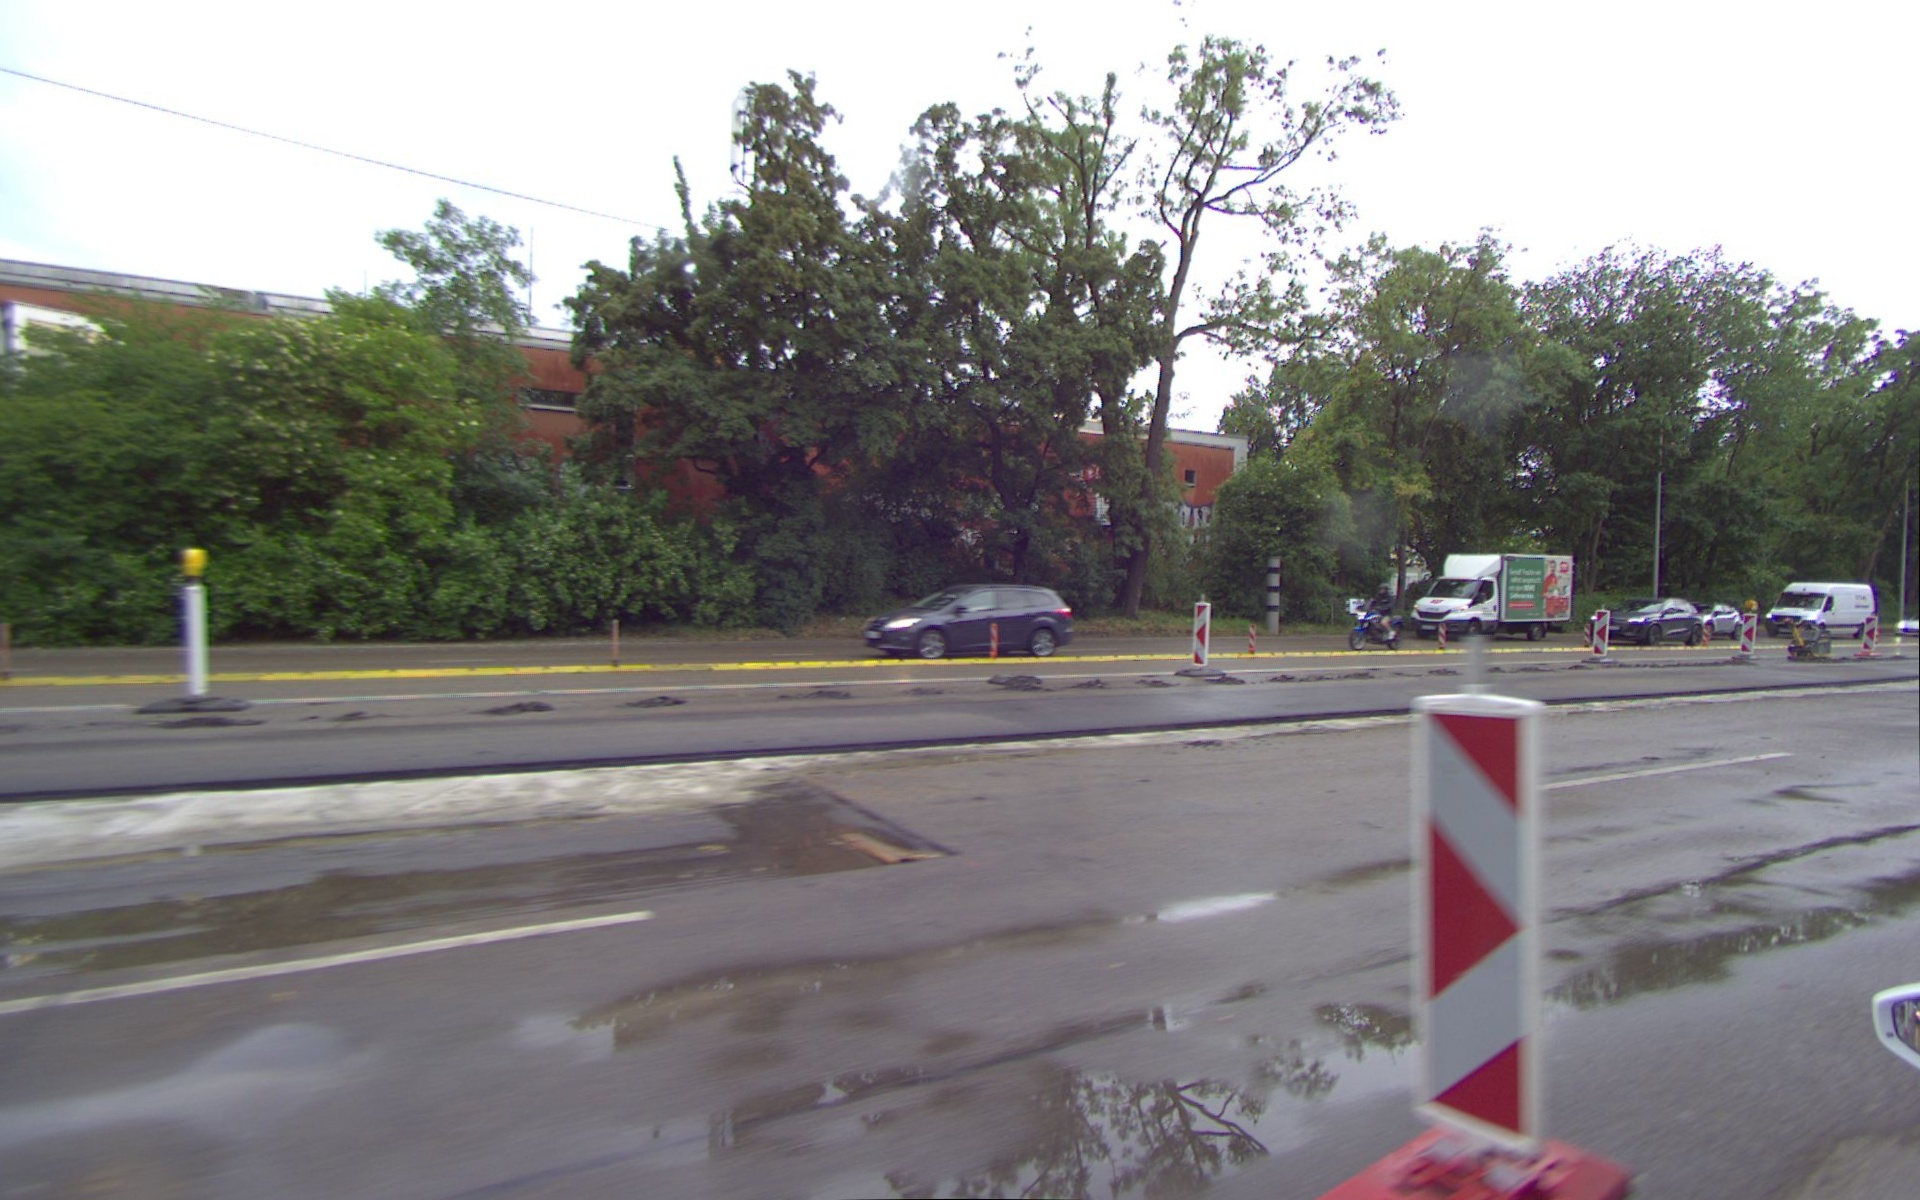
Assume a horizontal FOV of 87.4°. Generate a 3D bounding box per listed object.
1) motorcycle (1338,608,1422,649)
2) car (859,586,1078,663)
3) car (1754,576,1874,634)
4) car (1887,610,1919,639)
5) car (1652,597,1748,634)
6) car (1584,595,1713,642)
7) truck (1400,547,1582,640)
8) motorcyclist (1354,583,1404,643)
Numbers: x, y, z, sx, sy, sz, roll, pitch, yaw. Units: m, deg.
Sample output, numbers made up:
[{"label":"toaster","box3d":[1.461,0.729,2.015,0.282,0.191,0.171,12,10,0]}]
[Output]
[{"label":"motorcycle","box3d":[11.301,0.753,27.005,2.339,1.028,0.824,1,1,-31]},{"label":"car","box3d":[0.213,0.472,20.558,4.271,1.434,1.661,1,0,-31]},{"label":"car","box3d":[40.308,0.244,47.340,6.770,2.614,2.090,1,0,-29]},{"label":"car","box3d":[51.877,1.328,54.087,4.268,1.505,1.662,1,0,-29]},{"label":"car","box3d":[31.037,0.643,42.115,4.268,1.505,1.662,1,0,-29]},{"label":"car","box3d":[23.773,0.615,34.654,4.383,1.551,1.951,1,0,-29]},{"label":"truck","box3d":[18.496,-0.188,34.852,6.851,2.979,2.236,1,0,-29]},{"label":"motorcyclist","box3d":[11.244,0.338,26.957,0.916,1.586,0.824,1,1,-30]}]
